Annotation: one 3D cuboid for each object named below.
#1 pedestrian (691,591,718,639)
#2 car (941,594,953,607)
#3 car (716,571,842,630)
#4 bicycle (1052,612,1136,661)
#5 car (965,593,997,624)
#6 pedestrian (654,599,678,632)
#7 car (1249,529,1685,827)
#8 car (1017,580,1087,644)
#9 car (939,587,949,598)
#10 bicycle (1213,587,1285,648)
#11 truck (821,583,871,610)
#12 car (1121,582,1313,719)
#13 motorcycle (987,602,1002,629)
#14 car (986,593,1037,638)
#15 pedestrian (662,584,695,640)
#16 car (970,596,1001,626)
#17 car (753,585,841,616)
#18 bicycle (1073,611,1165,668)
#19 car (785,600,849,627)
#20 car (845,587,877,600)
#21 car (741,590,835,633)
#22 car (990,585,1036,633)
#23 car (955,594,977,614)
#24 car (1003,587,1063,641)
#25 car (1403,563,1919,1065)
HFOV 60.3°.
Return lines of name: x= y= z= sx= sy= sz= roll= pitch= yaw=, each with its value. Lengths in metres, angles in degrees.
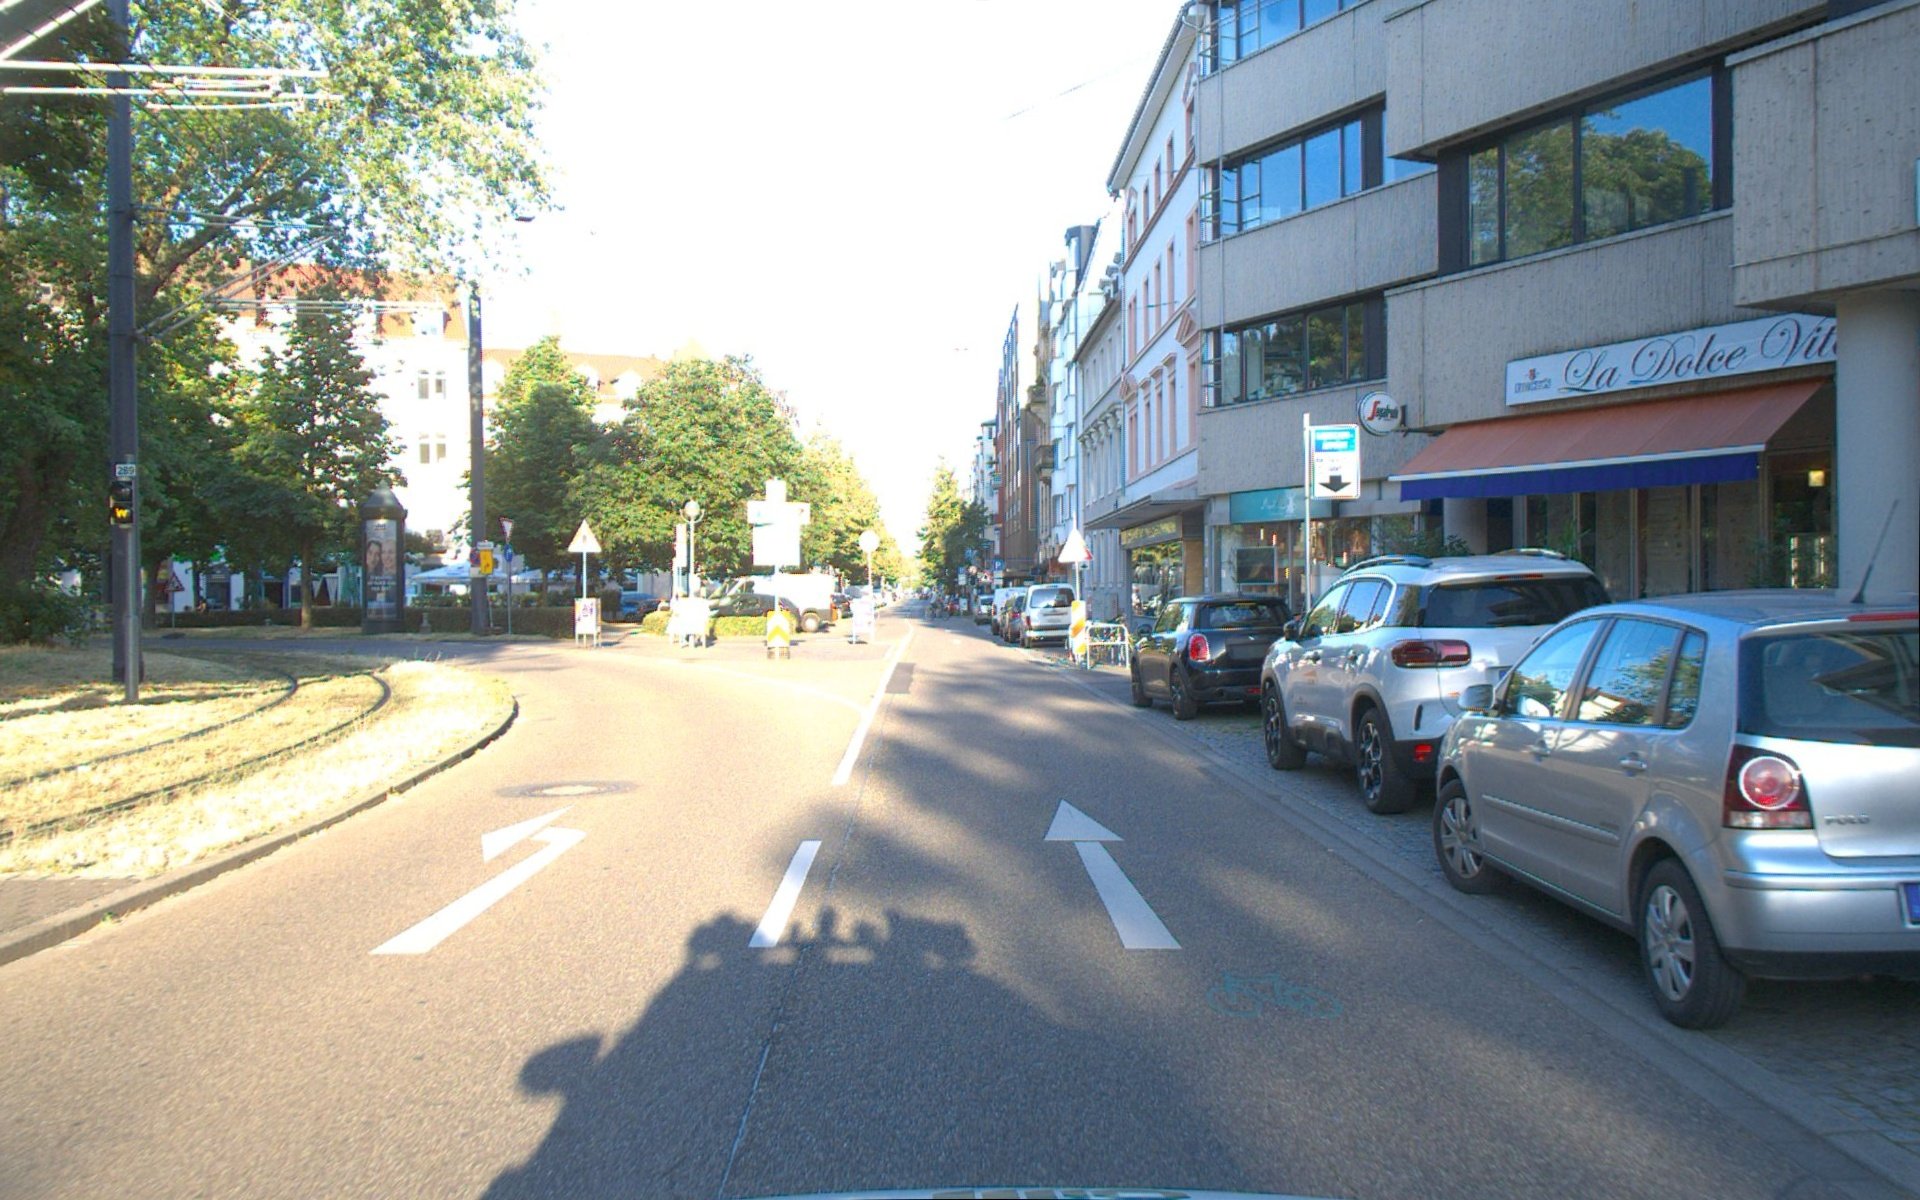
pedestrian: x=-7.468 y=0.445 z=48.330 sx=0.558 sy=1.388 sz=0.606 roll=0 pitch=0 yaw=-38
car: x=-1.352 y=0.107 z=172.159 sx=1.182 sy=1.323 sz=2.658 roll=0 pitch=-1 yaw=-4
car: x=-7.222 y=0.028 z=66.133 sx=4.546 sy=2.290 sz=2.183 roll=1 pitch=0 yaw=-29
bicycle: x=3.007 y=0.818 z=37.093 sx=1.751 sy=1.007 sz=0.542 roll=-3 pitch=1 yaw=22
car: x=1.238 y=0.496 z=98.171 sx=1.662 sy=1.800 sz=3.999 roll=-1 pitch=0 yaw=-2
pedestrian: x=-11.786 y=0.624 z=66.283 sx=0.741 sy=1.300 sz=0.652 roll=0 pitch=0 yaw=-39
car: x=3.532 y=0.471 z=12.449 sx=1.748 sy=1.836 sz=4.399 roll=0 pitch=0 yaw=-3
car: x=2.683 y=0.343 z=48.963 sx=1.756 sy=1.823 sz=4.091 roll=0 pitch=0 yaw=-1
car: x=-2.287 y=-1.076 z=241.646 sx=1.283 sy=1.628 sz=2.658 roll=0 pitch=-1 yaw=-4
bicycle: x=6.635 y=0.404 z=38.040 sx=0.412 sy=1.299 sz=1.638 roll=0 pitch=-3 yaw=-43
truck: x=-11.198 y=-0.345 z=162.394 sx=4.841 sy=2.661 sz=1.999 roll=0 pitch=0 yaw=-2
car: x=3.086 y=0.552 z=20.616 sx=1.753 sy=1.534 sz=3.920 roll=0 pitch=0 yaw=0
motorcycle: x=1.586 y=0.722 z=76.549 sx=0.576 sy=1.221 sz=2.209 roll=0 pitch=0 yaw=-2
car: x=1.848 y=0.548 z=60.278 sx=1.633 sy=1.571 sz=3.882 roll=0 pitch=0 yaw=-2
pedestrian: x=-8.170 y=0.338 z=47.961 sx=0.692 sy=1.586 sz=0.685 roll=0 pitch=0 yaw=-39
car: x=1.460 y=0.614 z=93.161 sx=1.646 sy=1.588 sz=4.001 roll=-2 pitch=0 yaw=1
car: x=-8.194 y=0.006 z=83.118 sx=3.946 sy=1.512 sz=1.979 roll=0 pitch=0 yaw=-31
bicycle: x=3.189 y=0.791 z=33.140 sx=1.749 sy=1.007 sz=0.542 roll=-3 pitch=1 yaw=10
car: x=-10.038 y=0.961 z=116.620 sx=4.359 sy=1.867 sz=2.033 roll=1 pitch=0 yaw=-2
car: x=-11.697 y=-0.817 z=195.313 sx=3.664 sy=1.519 sz=1.999 roll=0 pitch=0 yaw=-2
car: x=-7.856 y=0.506 z=75.697 sx=3.958 sy=1.911 sz=1.846 roll=0 pitch=0 yaw=-38
car: x=2.111 y=0.322 z=67.002 sx=1.675 sy=1.867 sz=4.305 roll=0 pitch=0 yaw=0
car: x=0.492 y=0.323 z=140.319 sx=1.545 sy=1.569 sz=3.394 roll=-2 pitch=-1 yaw=-4
car: x=2.352 y=0.446 z=54.257 sx=1.623 sy=1.694 sz=4.106 roll=0 pitch=0 yaw=-2
car: x=3.282 y=0.654 z=7.144 sx=1.607 sy=1.555 sz=3.999 roll=0 pitch=0 yaw=-1
